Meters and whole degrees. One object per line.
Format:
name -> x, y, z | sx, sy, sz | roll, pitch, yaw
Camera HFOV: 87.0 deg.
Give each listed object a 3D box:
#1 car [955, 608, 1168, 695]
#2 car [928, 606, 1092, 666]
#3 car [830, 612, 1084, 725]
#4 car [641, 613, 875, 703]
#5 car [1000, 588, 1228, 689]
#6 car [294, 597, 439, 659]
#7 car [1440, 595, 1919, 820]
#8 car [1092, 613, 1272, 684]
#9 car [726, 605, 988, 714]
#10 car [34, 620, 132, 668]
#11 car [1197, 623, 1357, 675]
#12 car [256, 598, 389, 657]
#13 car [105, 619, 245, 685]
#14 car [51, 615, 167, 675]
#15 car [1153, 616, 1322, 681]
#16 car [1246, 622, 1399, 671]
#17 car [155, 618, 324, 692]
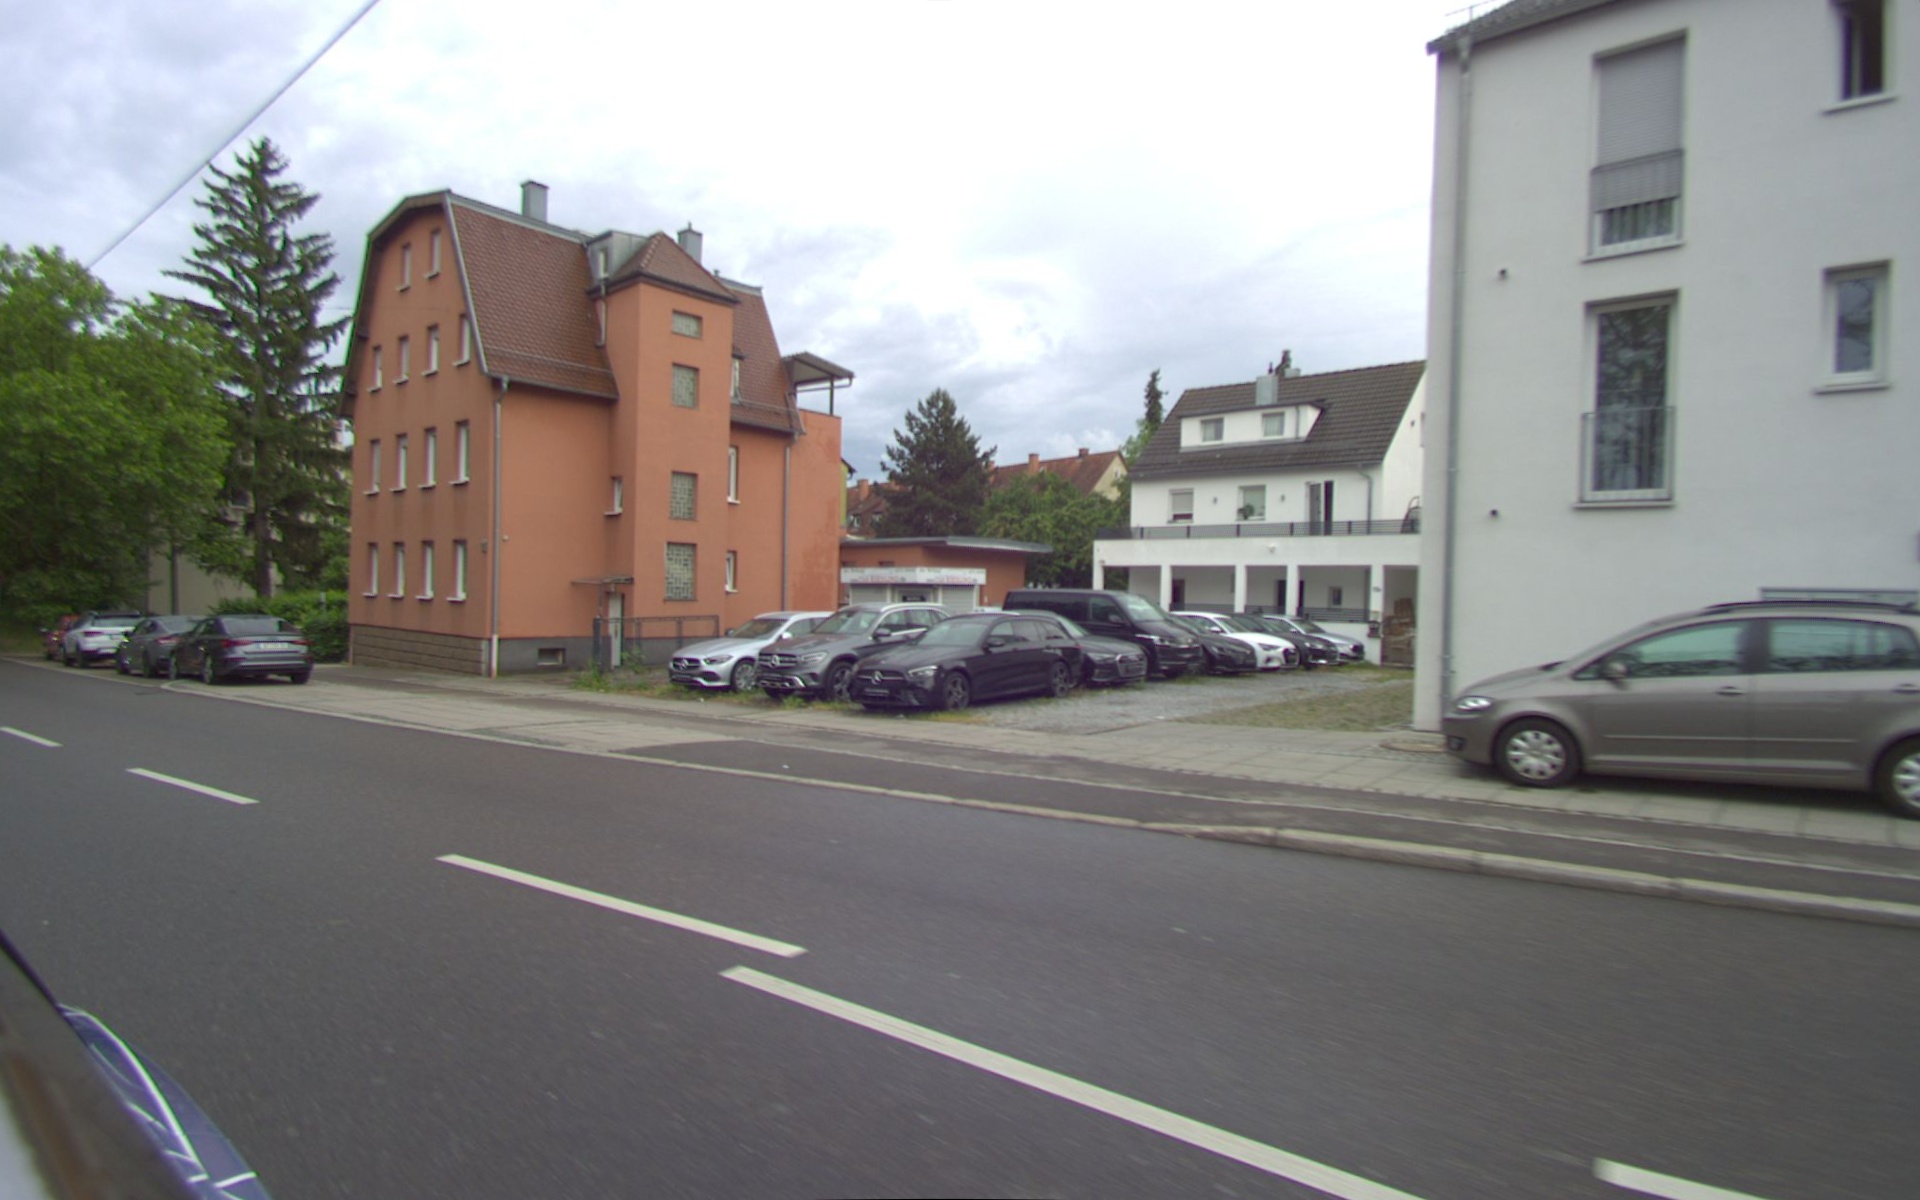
car -> 1.977, 0.988, 20.391 | 3.998, 1.574, 1.762 | -1, -2, 41
car -> 1.307, 0.949, 27.509 | 4.176, 1.444, 1.972 | -1, 1, 44
car -> 0.066, 1.011, 16.596 | 1.895, 1.475, 4.082 | -1, 0, 42
car -> -3.892, 1.057, 19.993 | 2.000, 1.444, 4.117 | -1, 1, 43
car -> 3.350, 0.835, 22.643 | 4.762, 2.029, 1.973 | -1, -2, 41
car -> -20.825, 0.941, 35.627 | 1.998, 2.029, 3.947 | -1, 0, 39
car -> 6.491, 0.792, 8.610 | 4.076, 1.564, 1.729 | -1, 1, 37
car -> 5.217, 1.108, 24.060 | 3.873, 1.547, 1.642 | -1, -2, 41
car -> -1.771, 0.980, 18.627 | 2.153, 1.620, 4.482 | -1, 1, 43
car -> -28.017, 1.357, 32.296 | 4.196, 1.444, 1.793 | -1, -1, 41
car -> 8.647, 1.309, 27.777 | 3.873, 1.333, 1.642 | -1, -2, 41
car -> -23.862, 0.984, 37.944 | 3.938, 2.029, 2.003 | -1, 0, -42
car -> -18.998, 1.199, 24.441 | 4.194, 1.463, 1.794 | -1, -1, 39
car -> -23.958, 1.251, 28.444 | 4.196, 1.558, 1.793 | -1, -5, 41
car -> 7.053, 1.206, 25.945 | 3.873, 1.547, 1.642 | -1, -2, 41
car -> 10.561, 1.325, 29.615 | 3.873, 1.333, 1.642 | -1, -2, 41
car -> -15.274, 1.126, 21.389 | 4.193, 1.421, 1.767 | -1, -3, 38
